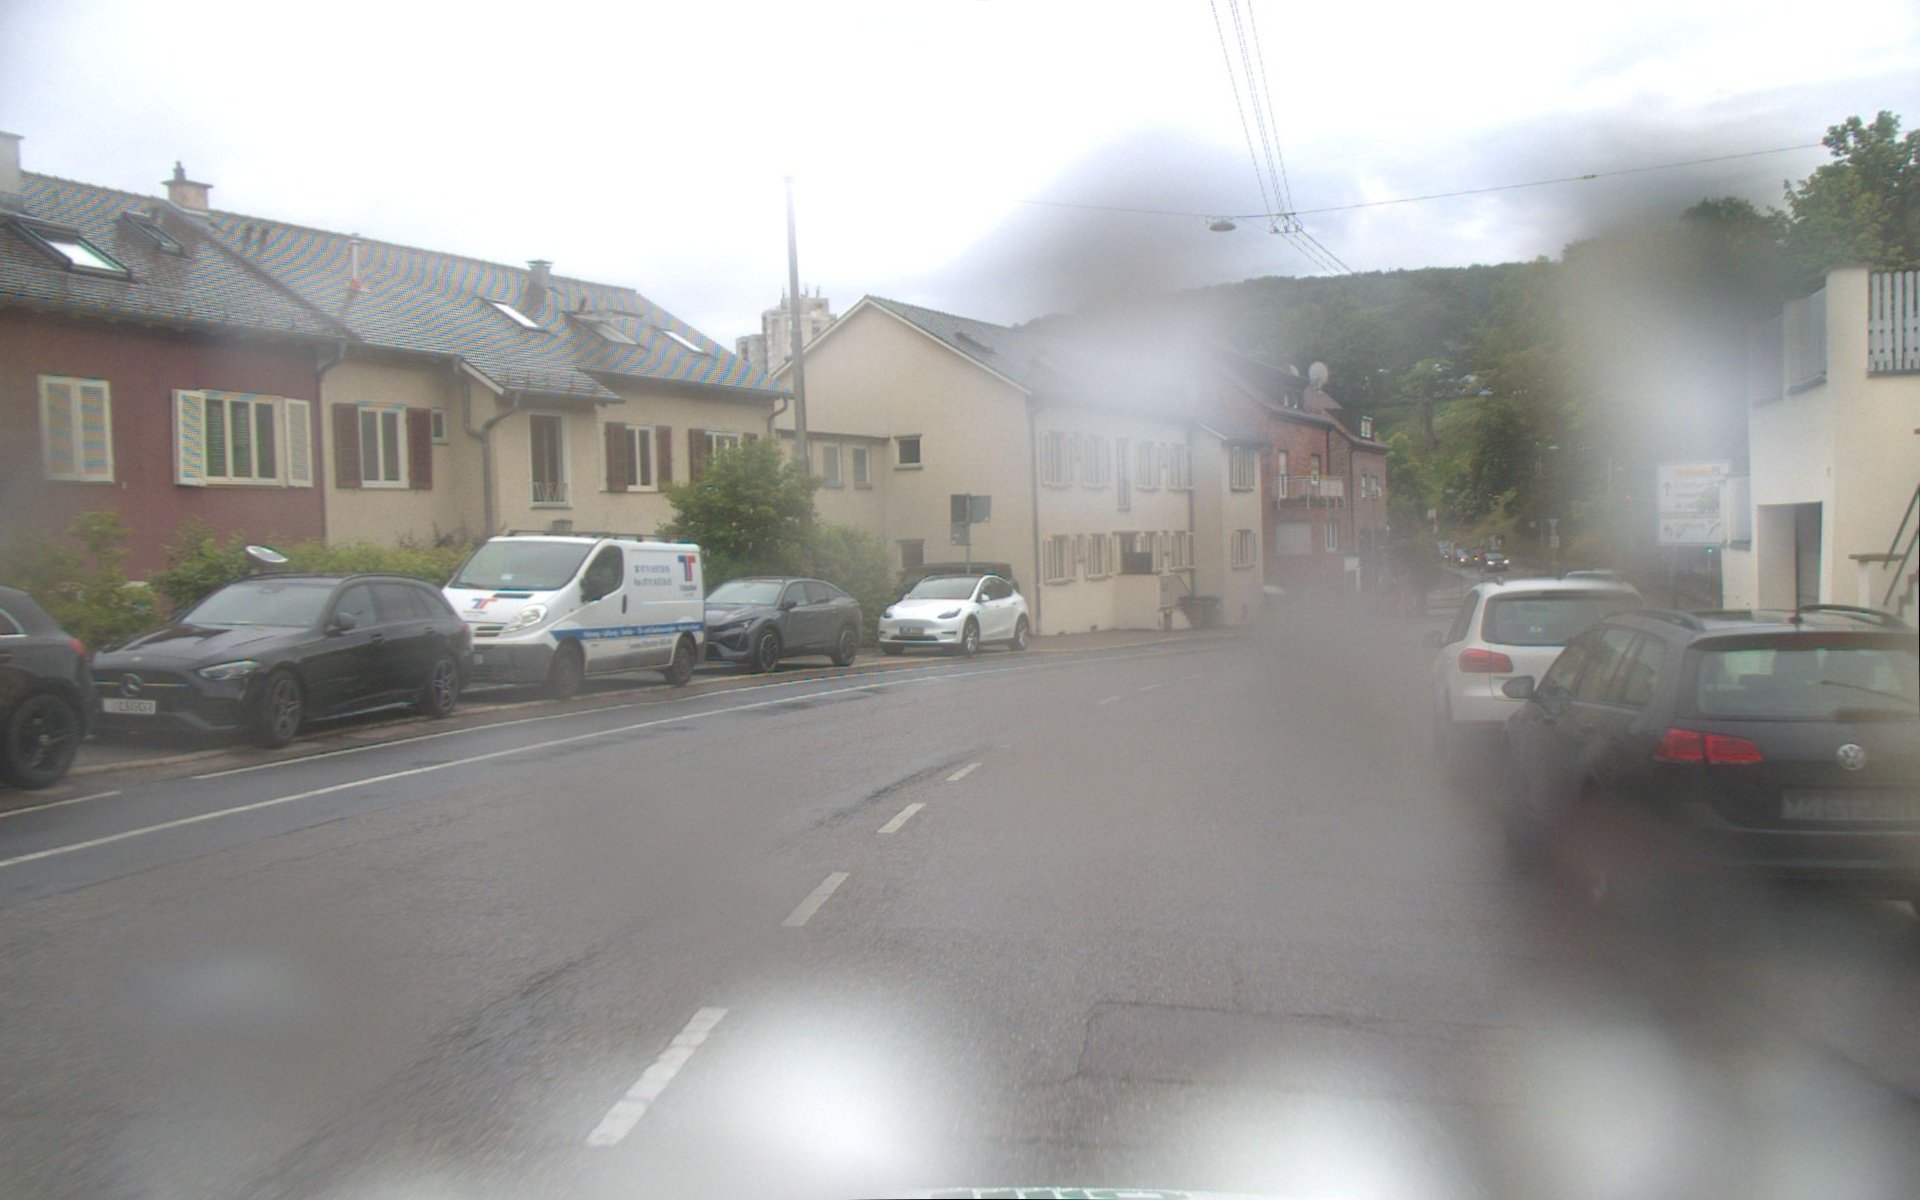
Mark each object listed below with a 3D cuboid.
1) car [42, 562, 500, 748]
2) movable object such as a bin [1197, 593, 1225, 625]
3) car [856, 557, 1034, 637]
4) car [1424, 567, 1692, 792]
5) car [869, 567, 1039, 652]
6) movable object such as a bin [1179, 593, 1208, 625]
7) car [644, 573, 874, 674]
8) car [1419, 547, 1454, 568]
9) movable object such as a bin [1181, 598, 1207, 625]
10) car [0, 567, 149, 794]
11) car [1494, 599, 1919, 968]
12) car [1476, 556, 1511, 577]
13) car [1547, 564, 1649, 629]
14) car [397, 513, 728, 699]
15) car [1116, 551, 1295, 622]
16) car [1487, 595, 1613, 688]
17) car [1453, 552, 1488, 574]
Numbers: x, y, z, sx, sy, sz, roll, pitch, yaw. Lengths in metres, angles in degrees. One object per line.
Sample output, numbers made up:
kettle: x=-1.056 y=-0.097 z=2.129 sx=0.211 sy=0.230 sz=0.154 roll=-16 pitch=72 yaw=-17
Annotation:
car: x=-6.307 y=0.436 z=15.812 sx=1.769 sy=1.502 sz=4.526 roll=0 pitch=0 yaw=12
movable object such as a bin: x=8.546 y=0.292 z=56.268 sx=0.766 sy=1.065 sz=0.737 roll=0 pitch=0 yaw=27
car: x=-0.412 y=-0.079 z=44.477 sx=4.398 sy=2.048 sz=1.887 roll=0 pitch=1 yaw=24
car: x=5.100 y=0.591 z=14.615 sx=1.765 sy=1.678 sz=4.213 roll=0 pitch=0 yaw=14
car: x=-0.030 y=0.183 z=34.638 sx=1.890 sy=1.659 sz=4.676 roll=0 pitch=0 yaw=23
movable object such as a bin: x=7.869 y=0.303 z=55.704 sx=0.766 sy=1.065 sz=0.708 roll=0 pitch=0 yaw=27
car: x=-3.166 y=0.337 z=27.069 sx=1.771 sy=1.502 sz=4.522 roll=0 pitch=0 yaw=22
car: x=43.758 y=-3.898 z=151.981 sx=1.707 sy=1.576 sz=3.999 roll=-5 pitch=5 yaw=-4
movable object such as a bin: x=7.757 y=0.387 z=54.709 sx=0.660 sy=0.874 sz=0.708 roll=0 pitch=0 yaw=27
car: x=-7.464 y=0.528 z=10.323 sx=1.769 sy=1.502 sz=4.525 roll=0 pitch=0 yaw=15
car: x=4.068 y=0.764 z=8.919 sx=1.642 sy=1.509 sz=4.205 roll=0 pitch=0 yaw=9
car: x=44.789 y=-2.836 z=138.914 sx=1.705 sy=1.576 sz=4.002 roll=-4 pitch=2 yaw=2
car: x=20.998 y=-0.155 z=54.325 sx=2.268 sy=1.973 sz=4.312 roll=0 pitch=2 yaw=34
car: x=-4.957 y=0.057 z=21.495 sx=1.809 sy=2.115 sz=5.023 roll=0 pitch=0 yaw=18
car: x=9.458 y=-0.487 z=63.949 sx=6.526 sy=2.598 sz=2.165 roll=0 pitch=-1 yaw=28
car: x=10.694 y=0.681 z=29.786 sx=1.753 sy=1.522 sz=4.703 roll=0 pitch=0 yaw=24
car: x=44.732 y=-3.264 z=145.113 sx=1.706 sy=1.576 sz=4.001 roll=-4 pitch=5 yaw=-1
